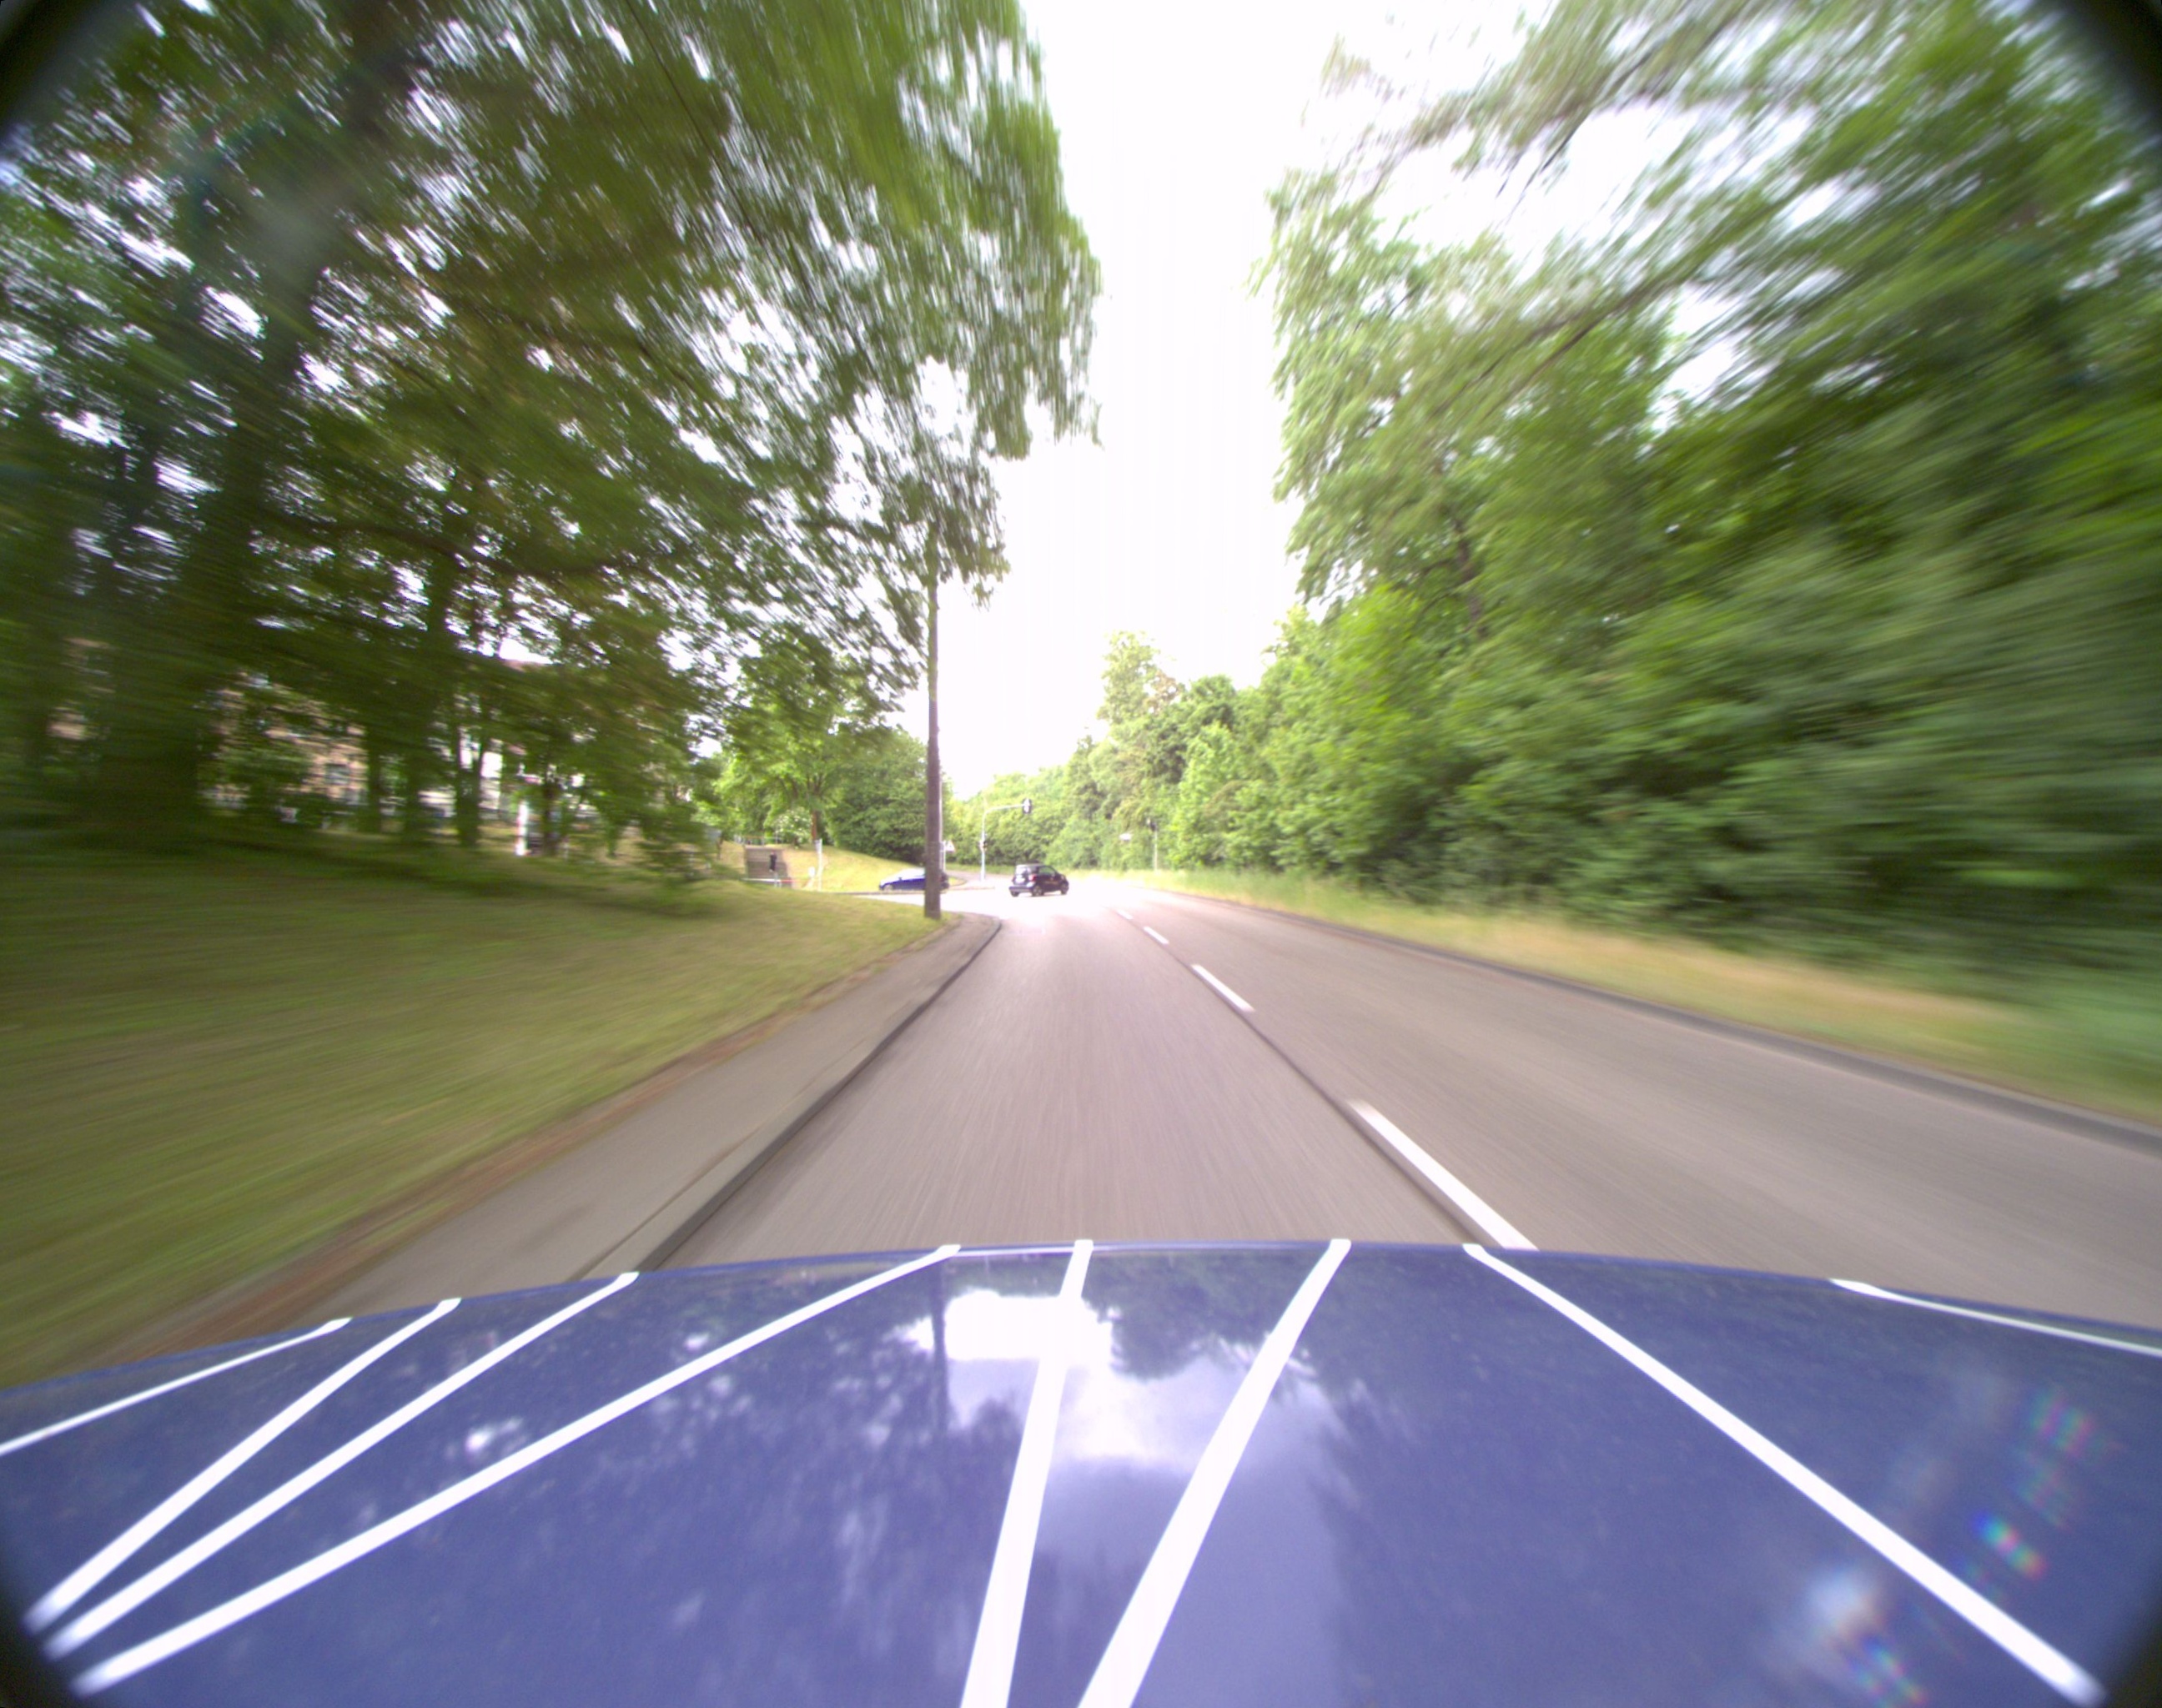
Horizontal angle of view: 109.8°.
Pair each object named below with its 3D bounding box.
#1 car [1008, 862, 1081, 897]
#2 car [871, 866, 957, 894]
[{"bbox_3d":[-1.734,1.204,36.693,1.663,1.486,3.321,-2,0,39],"label":"car"},{"bbox_3d":[-10.310,1.600,47.001,4.835,1.505,1.796,-3,-1,8],"label":"car"}]
